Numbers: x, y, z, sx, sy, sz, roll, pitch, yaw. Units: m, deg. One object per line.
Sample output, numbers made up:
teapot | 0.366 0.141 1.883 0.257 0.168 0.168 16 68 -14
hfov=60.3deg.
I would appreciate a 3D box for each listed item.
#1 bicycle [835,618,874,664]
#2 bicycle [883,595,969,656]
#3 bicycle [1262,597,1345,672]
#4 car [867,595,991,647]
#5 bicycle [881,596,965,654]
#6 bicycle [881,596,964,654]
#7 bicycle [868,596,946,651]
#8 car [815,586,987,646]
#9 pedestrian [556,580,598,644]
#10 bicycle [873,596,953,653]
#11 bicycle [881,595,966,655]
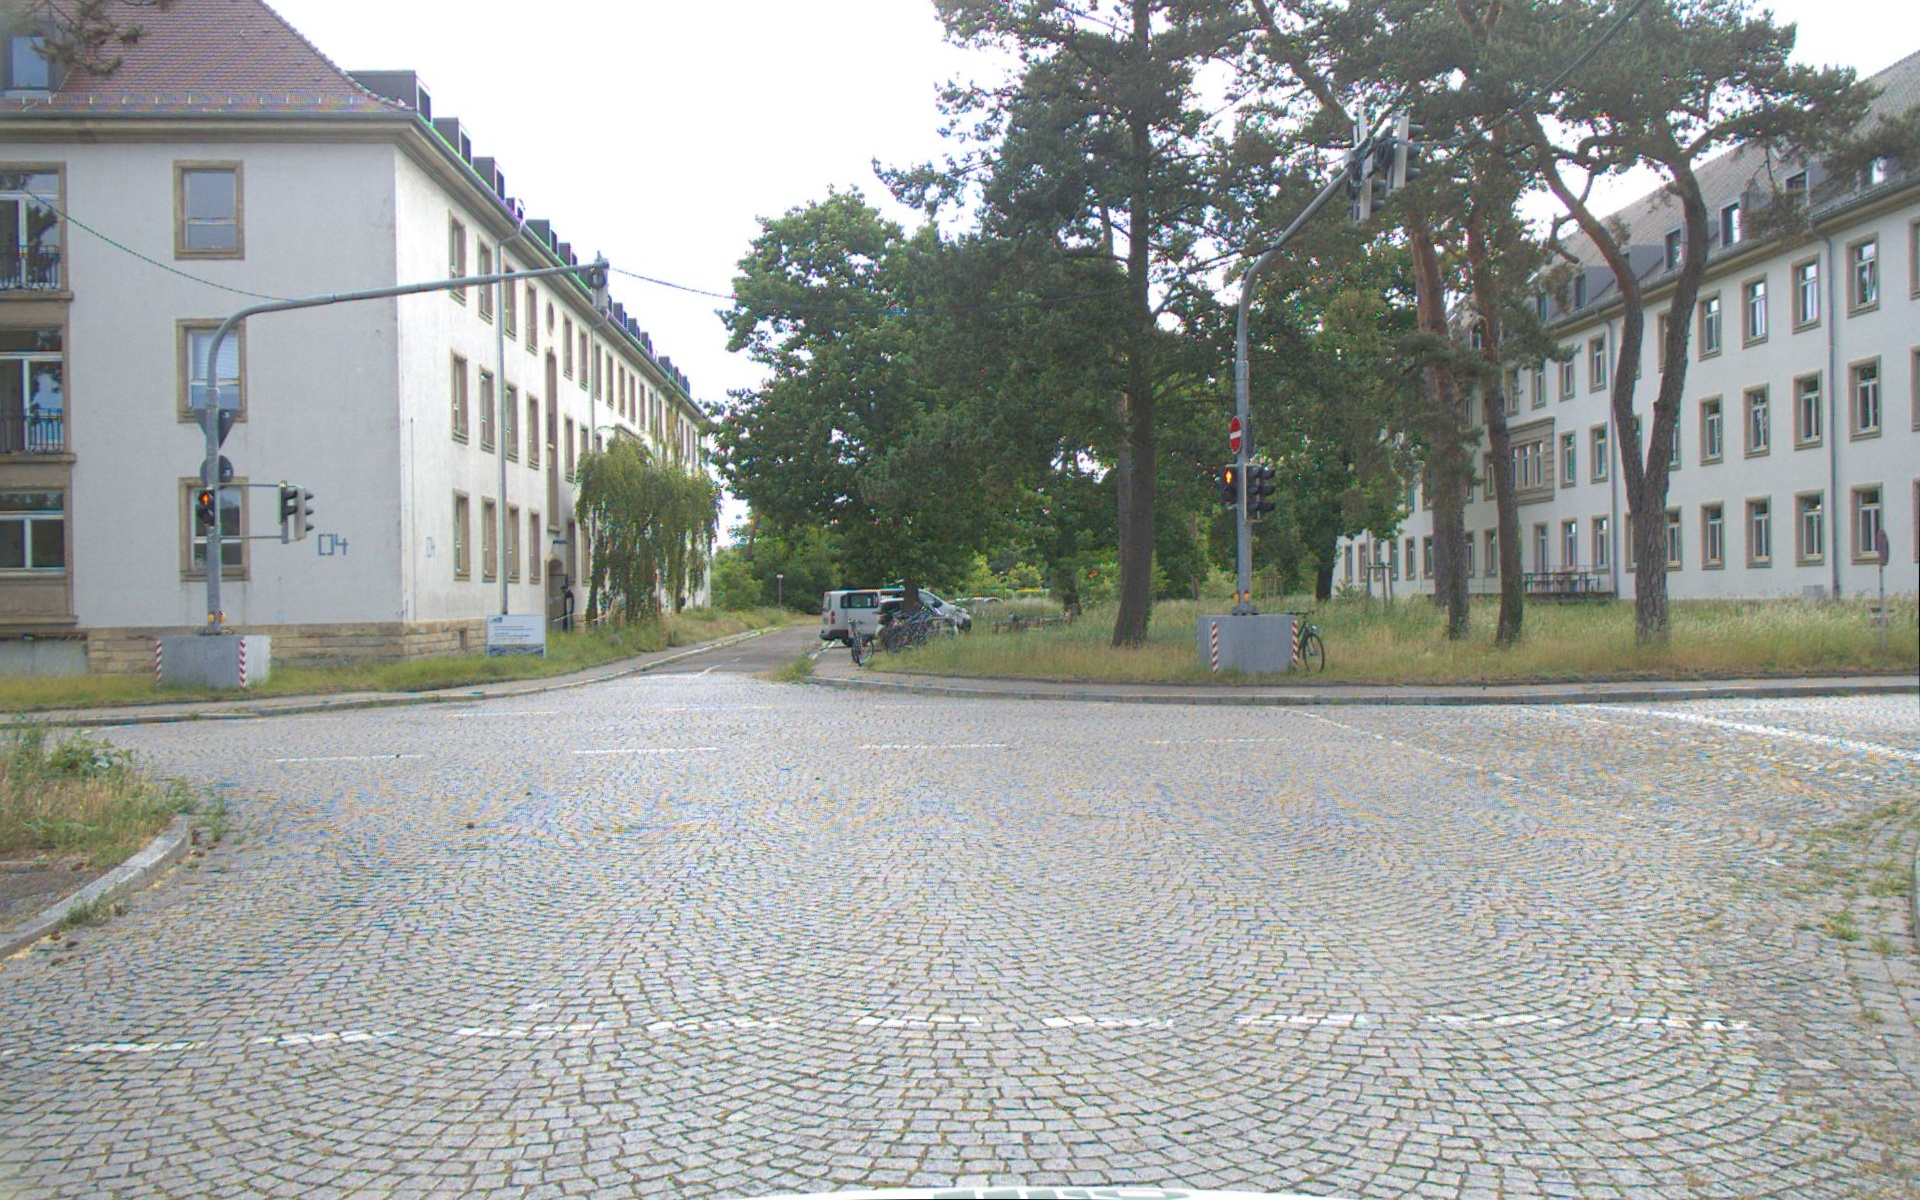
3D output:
bicycle | -2.388 0.911 37.635 0.605 0.980 2.078 -1 0 4
bicycle | -0.812 0.603 39.508 2.028 1.402 0.620 -1 0 -2
bicycle | 5.697 0.558 27.534 0.890 1.197 1.873 -1 0 -3
car | -1.042 0.670 54.026 3.858 1.571 1.997 -1 0 -7
bicycle | -0.916 0.611 40.799 2.028 1.402 0.620 -1 0 -2
bicycle | -0.944 0.617 41.595 2.028 1.402 0.620 -1 0 -2
bicycle | -1.403 0.627 43.859 2.028 1.402 0.620 -1 0 -2
car | -2.071 0.537 57.351 5.597 1.944 2.221 -1 0 -15
pedestrian | -12.596 0.394 54.465 1.064 2.049 1.022 -1 0 3
bicycle | -1.202 0.617 42.382 2.028 1.402 0.620 -1 0 -2
bicycle | -0.885 0.606 40.175 2.028 1.402 0.620 -1 0 -2
